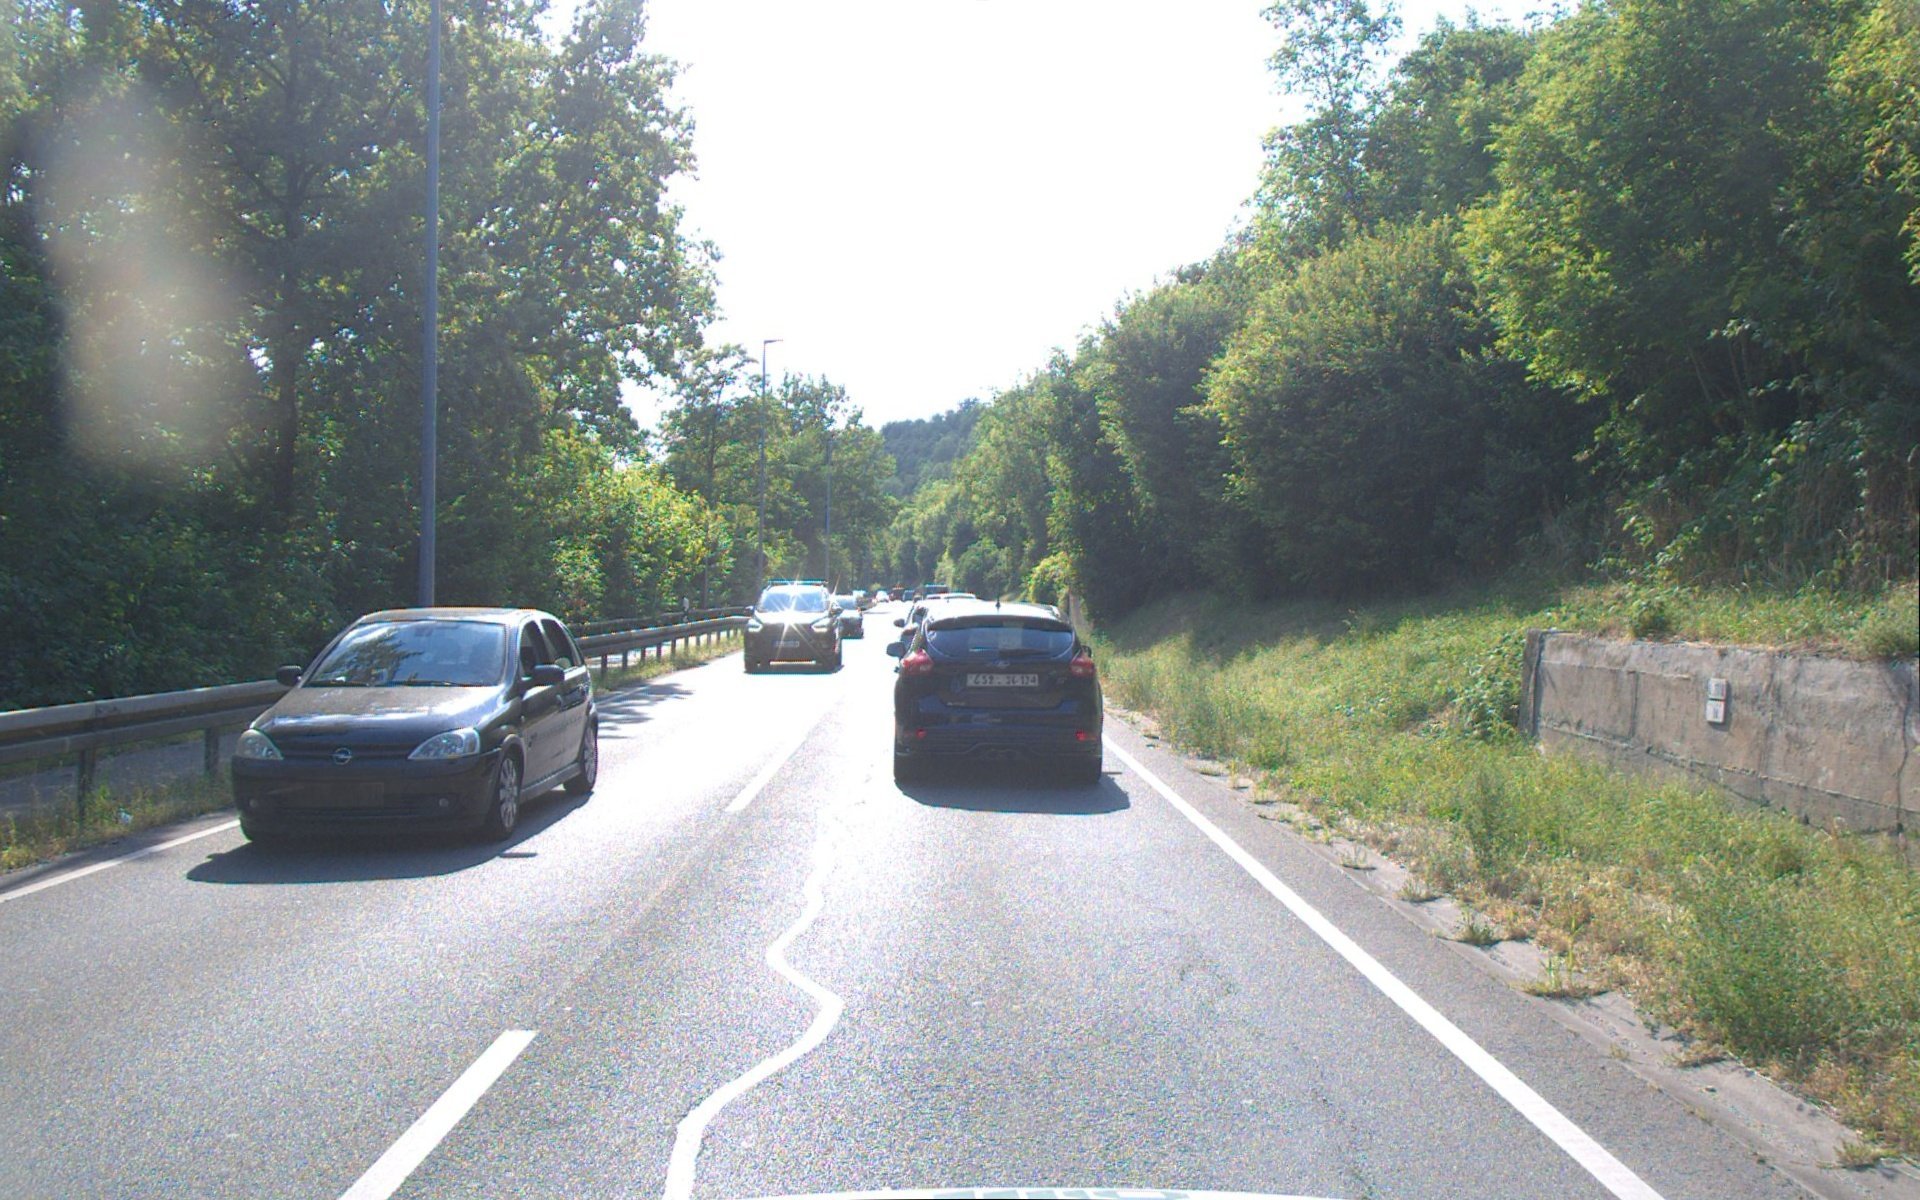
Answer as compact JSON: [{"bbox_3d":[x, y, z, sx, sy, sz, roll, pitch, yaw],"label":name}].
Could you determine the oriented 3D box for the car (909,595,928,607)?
[{"bbox_3d":[-5.332,0.112,213.015,1.956,1.545,3.993,0,0,-8],"label":"car"}]

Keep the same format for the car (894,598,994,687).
[{"bbox_3d":[-0.236,0.693,28.989,1.627,1.443,4.000,0,0,1],"label":"car"}]

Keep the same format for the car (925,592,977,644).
[{"bbox_3d":[-0.314,0.542,52.780,1.597,1.624,3.999,0,0,-1],"label":"car"}]

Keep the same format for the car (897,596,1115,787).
[{"bbox_3d":[0.336,0.722,15.007,1.704,1.482,3.999,1,0,-1],"label":"car"}]

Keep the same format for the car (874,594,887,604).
[{"bbox_3d":[-11.217,-0.143,234.077,1.591,1.401,4.043,-2,0,-5],"label":"car"}]

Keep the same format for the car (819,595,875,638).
[{"bbox_3d":[-3.949,0.551,58.383,1.657,1.445,4.142,-1,0,0],"label":"car"}]

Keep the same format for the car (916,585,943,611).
[{"bbox_3d":[-2.189,-0.142,118.950,1.826,1.812,3.998,0,0,-3],"label":"car"}]

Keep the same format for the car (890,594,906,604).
[{"bbox_3d":[-9.289,-0.190,248.118,1.956,1.545,3.993,0,0,-8],"label":"car"}]

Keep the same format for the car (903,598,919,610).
[{"bbox_3d":[-6.933,0.551,234.015,1.956,1.545,3.993,0,0,-8],"label":"car"}]

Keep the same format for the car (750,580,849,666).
[{"bbox_3d":[-3.402,0.459,35.696,1.712,1.747,4.221,0,0,0],"label":"car"}]

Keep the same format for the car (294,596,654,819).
[{"bbox_3d":[-3.581,0.708,12.927,1.647,1.467,4.000,0,0,0],"label":"car"}]

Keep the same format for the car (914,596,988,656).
[{"bbox_3d":[-0.239,0.622,41.322,1.768,1.416,3.999,0,0,-1],"label":"car"}]
